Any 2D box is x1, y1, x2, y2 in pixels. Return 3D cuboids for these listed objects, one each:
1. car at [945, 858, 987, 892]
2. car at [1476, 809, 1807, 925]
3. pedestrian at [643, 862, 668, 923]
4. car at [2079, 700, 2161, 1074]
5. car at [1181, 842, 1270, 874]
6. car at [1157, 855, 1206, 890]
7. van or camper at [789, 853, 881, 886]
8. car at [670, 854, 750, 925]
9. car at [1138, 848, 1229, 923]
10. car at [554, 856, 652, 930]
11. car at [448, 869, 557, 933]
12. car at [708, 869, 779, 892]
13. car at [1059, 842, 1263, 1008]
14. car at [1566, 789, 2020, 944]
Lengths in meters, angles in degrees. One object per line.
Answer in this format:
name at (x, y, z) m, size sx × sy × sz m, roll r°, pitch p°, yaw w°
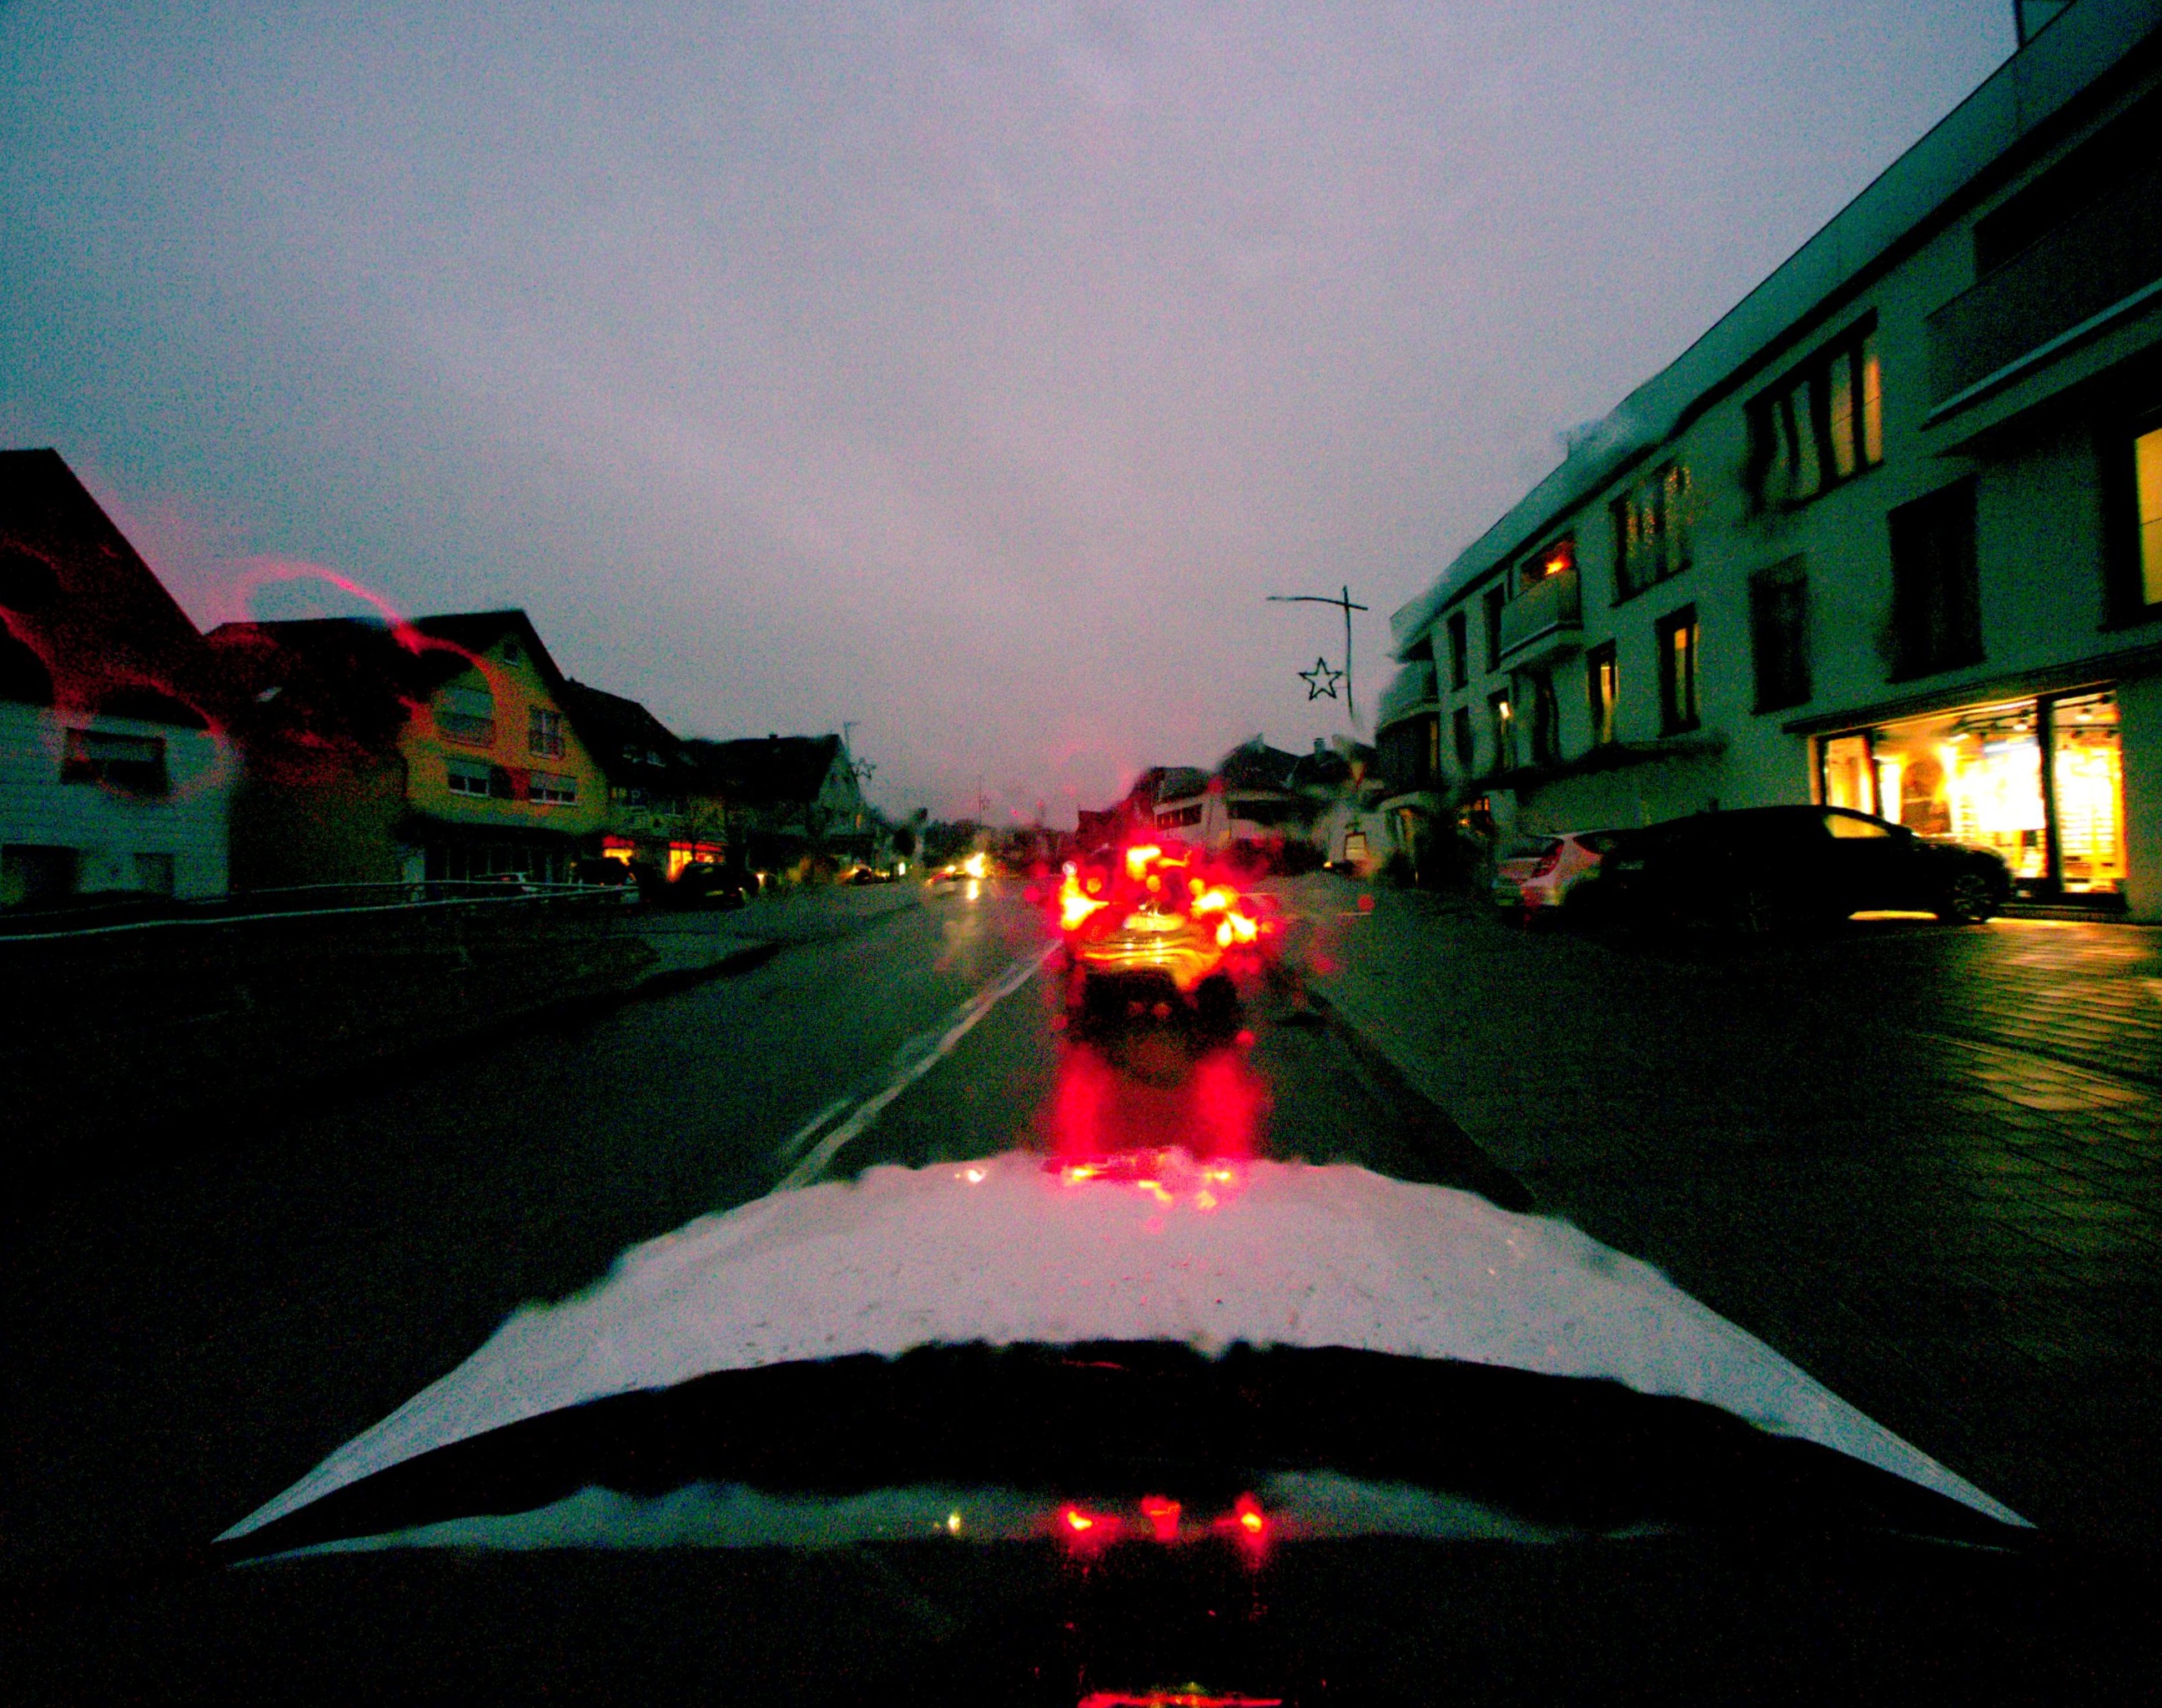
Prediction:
car at (-7.711, 1.406, 55.143) m, size 1.985 × 2.204 × 4.420 m, roll 0°, pitch -1°, yaw 2°
car at (9.025, 0.206, 13.341) m, size 4.197 × 1.460 × 1.791 m, roll -4°, pitch -1°, yaw -4°
pedestrian at (-12.201, 1.085, 23.368) m, size 0.498 × 1.701 × 0.707 m, roll -3°, pitch 0°, yaw -25°
car at (7.736, -0.102, 3.385) m, size 4.547 × 1.920 × 1.950 m, roll -7°, pitch -1°, yaw 1°
car at (7.396, 0.196, 41.668) m, size 4.000 × 1.418 × 1.987 m, roll -2°, pitch -2°, yaw -20°
car at (4.498, 0.758, 35.950) m, size 1.982 × 1.391 × 4.010 m, roll -2°, pitch 0°, yaw 9°
van or camper at (-16.095, 1.026, 53.275) m, size 5.488 × 1.954 × 2.008 m, roll -2°, pitch 0°, yaw 15°
car at (-11.415, 1.019, 25.126) m, size 2.047 × 1.925 × 4.023 m, roll -2°, pitch 0°, yaw -25°
car at (2.141, 0.610, 17.888) m, size 1.675 × 1.453 × 4.003 m, roll 0°, pitch 0°, yaw 3°
car at (-14.029, 1.084, 24.157) m, size 2.047 × 1.925 × 4.023 m, roll -2°, pitch 0°, yaw -25°
car at (-16.934, 1.301, 24.046) m, size 1.830 × 1.613 × 4.023 m, roll -2°, pitch 0°, yaw -24°
car at (-22.685, 1.789, 54.795) m, size 3.976 × 1.365 × 1.726 m, roll -2°, pitch 0°, yaw -2°
car at (0.886, 0.684, 10.017) m, size 1.956 × 1.594 × 4.316 m, roll 0°, pitch 0°, yaw 3°
car at (8.729, 0.142, 10.225) m, size 4.197 × 1.460 × 1.791 m, roll -4°, pitch -1°, yaw -4°
